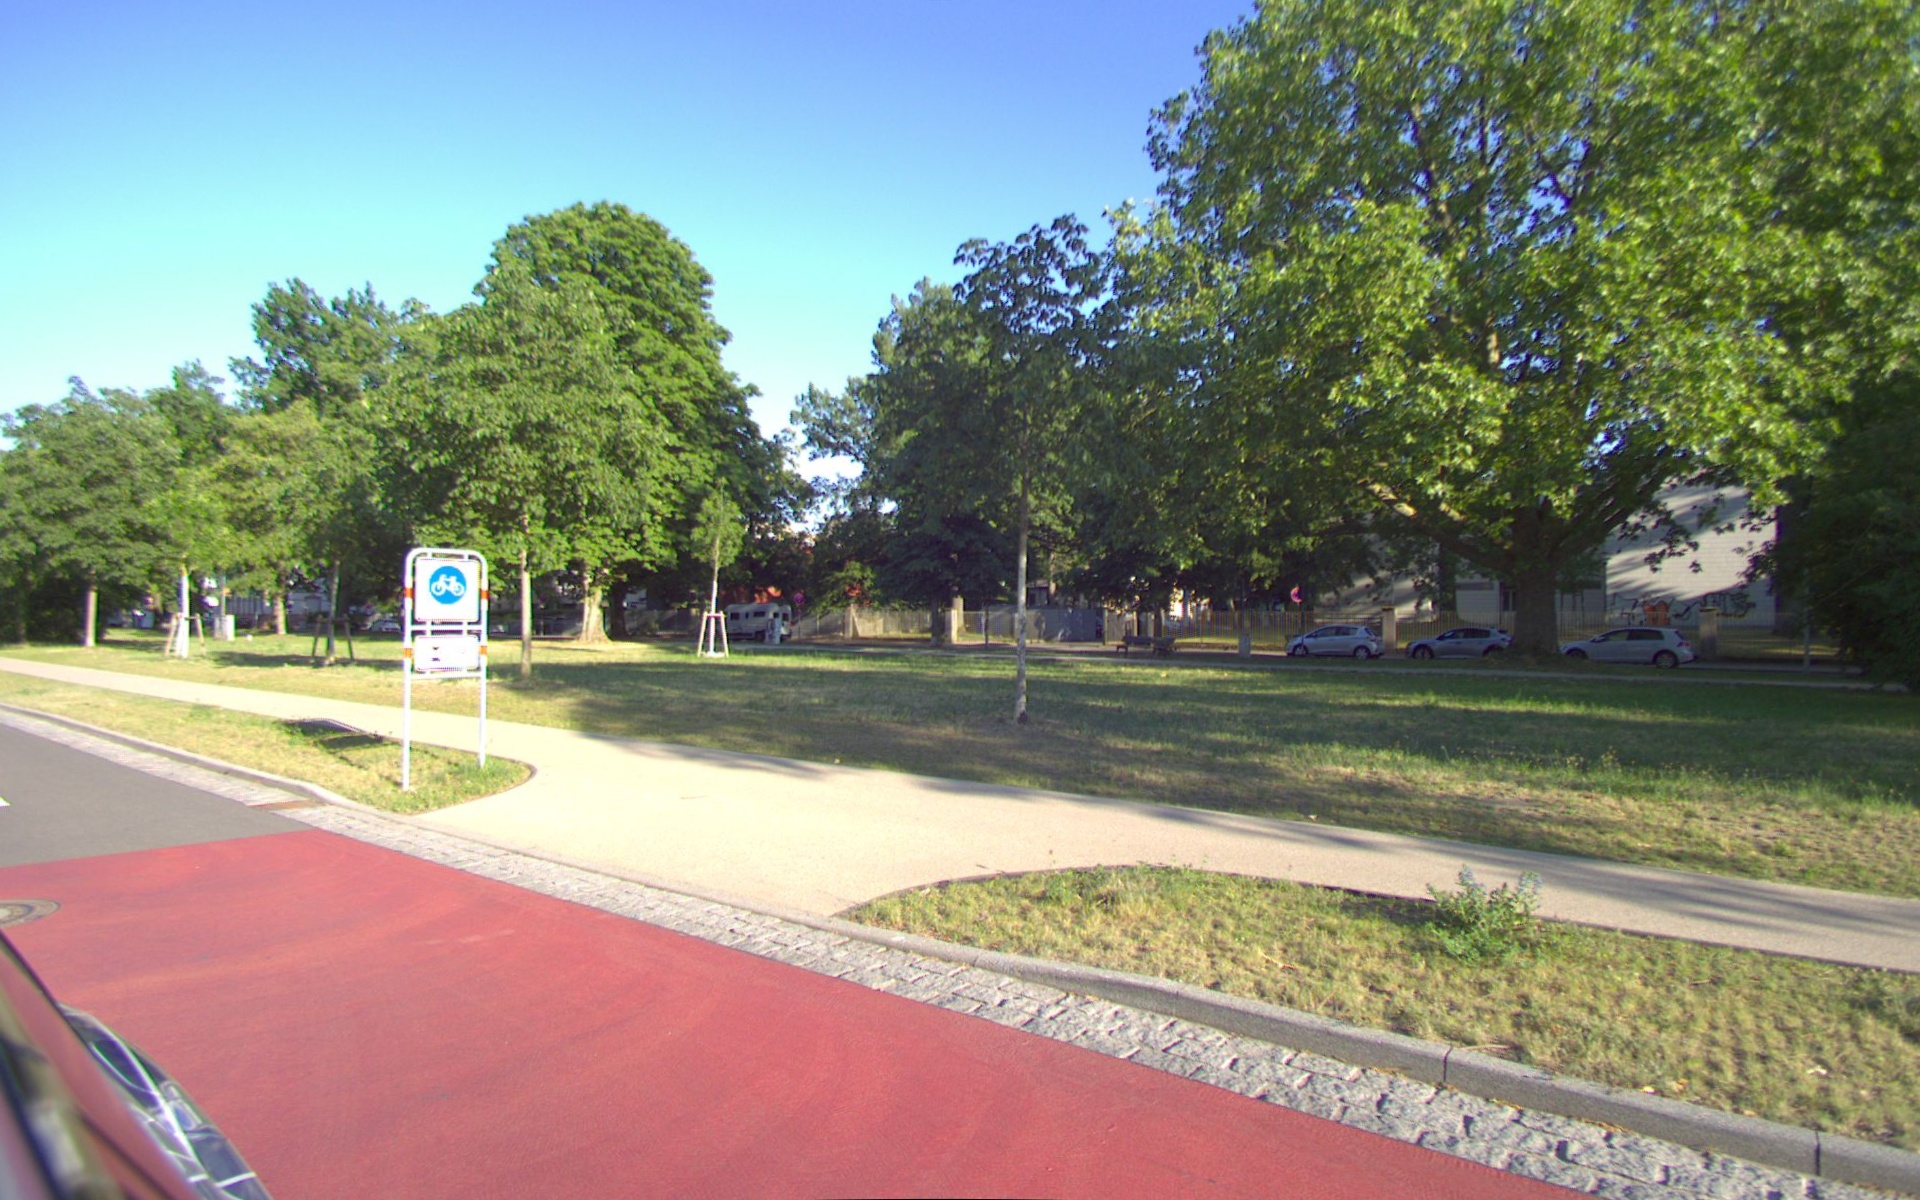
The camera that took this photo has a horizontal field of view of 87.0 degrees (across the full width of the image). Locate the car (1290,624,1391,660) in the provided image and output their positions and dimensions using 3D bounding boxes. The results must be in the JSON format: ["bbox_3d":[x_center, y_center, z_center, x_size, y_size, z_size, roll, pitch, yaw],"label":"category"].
[{"bbox_3d":[15.764,1.715,42.019,3.643,1.378,1.508,-1,-1,37],"label":"car"}]

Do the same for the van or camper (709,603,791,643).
[{"bbox_3d":[-13.430,1.484,64.563,5.455,2.458,1.976,-1,-2,36],"label":"van or camper"}]

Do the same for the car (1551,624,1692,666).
[{"bbox_3d":[23.395,1.556,35.847,4.101,1.378,1.508,-1,-1,37],"label":"car"}]

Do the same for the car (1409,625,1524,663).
[{"bbox_3d":[19.514,1.667,39.051,3.786,1.378,1.508,-1,-1,37],"label":"car"}]

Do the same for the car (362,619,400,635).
[{"bbox_3d":[-55.609,2.585,97.194,3.993,1.475,1.776,-1,-1,37],"label":"car"}]
